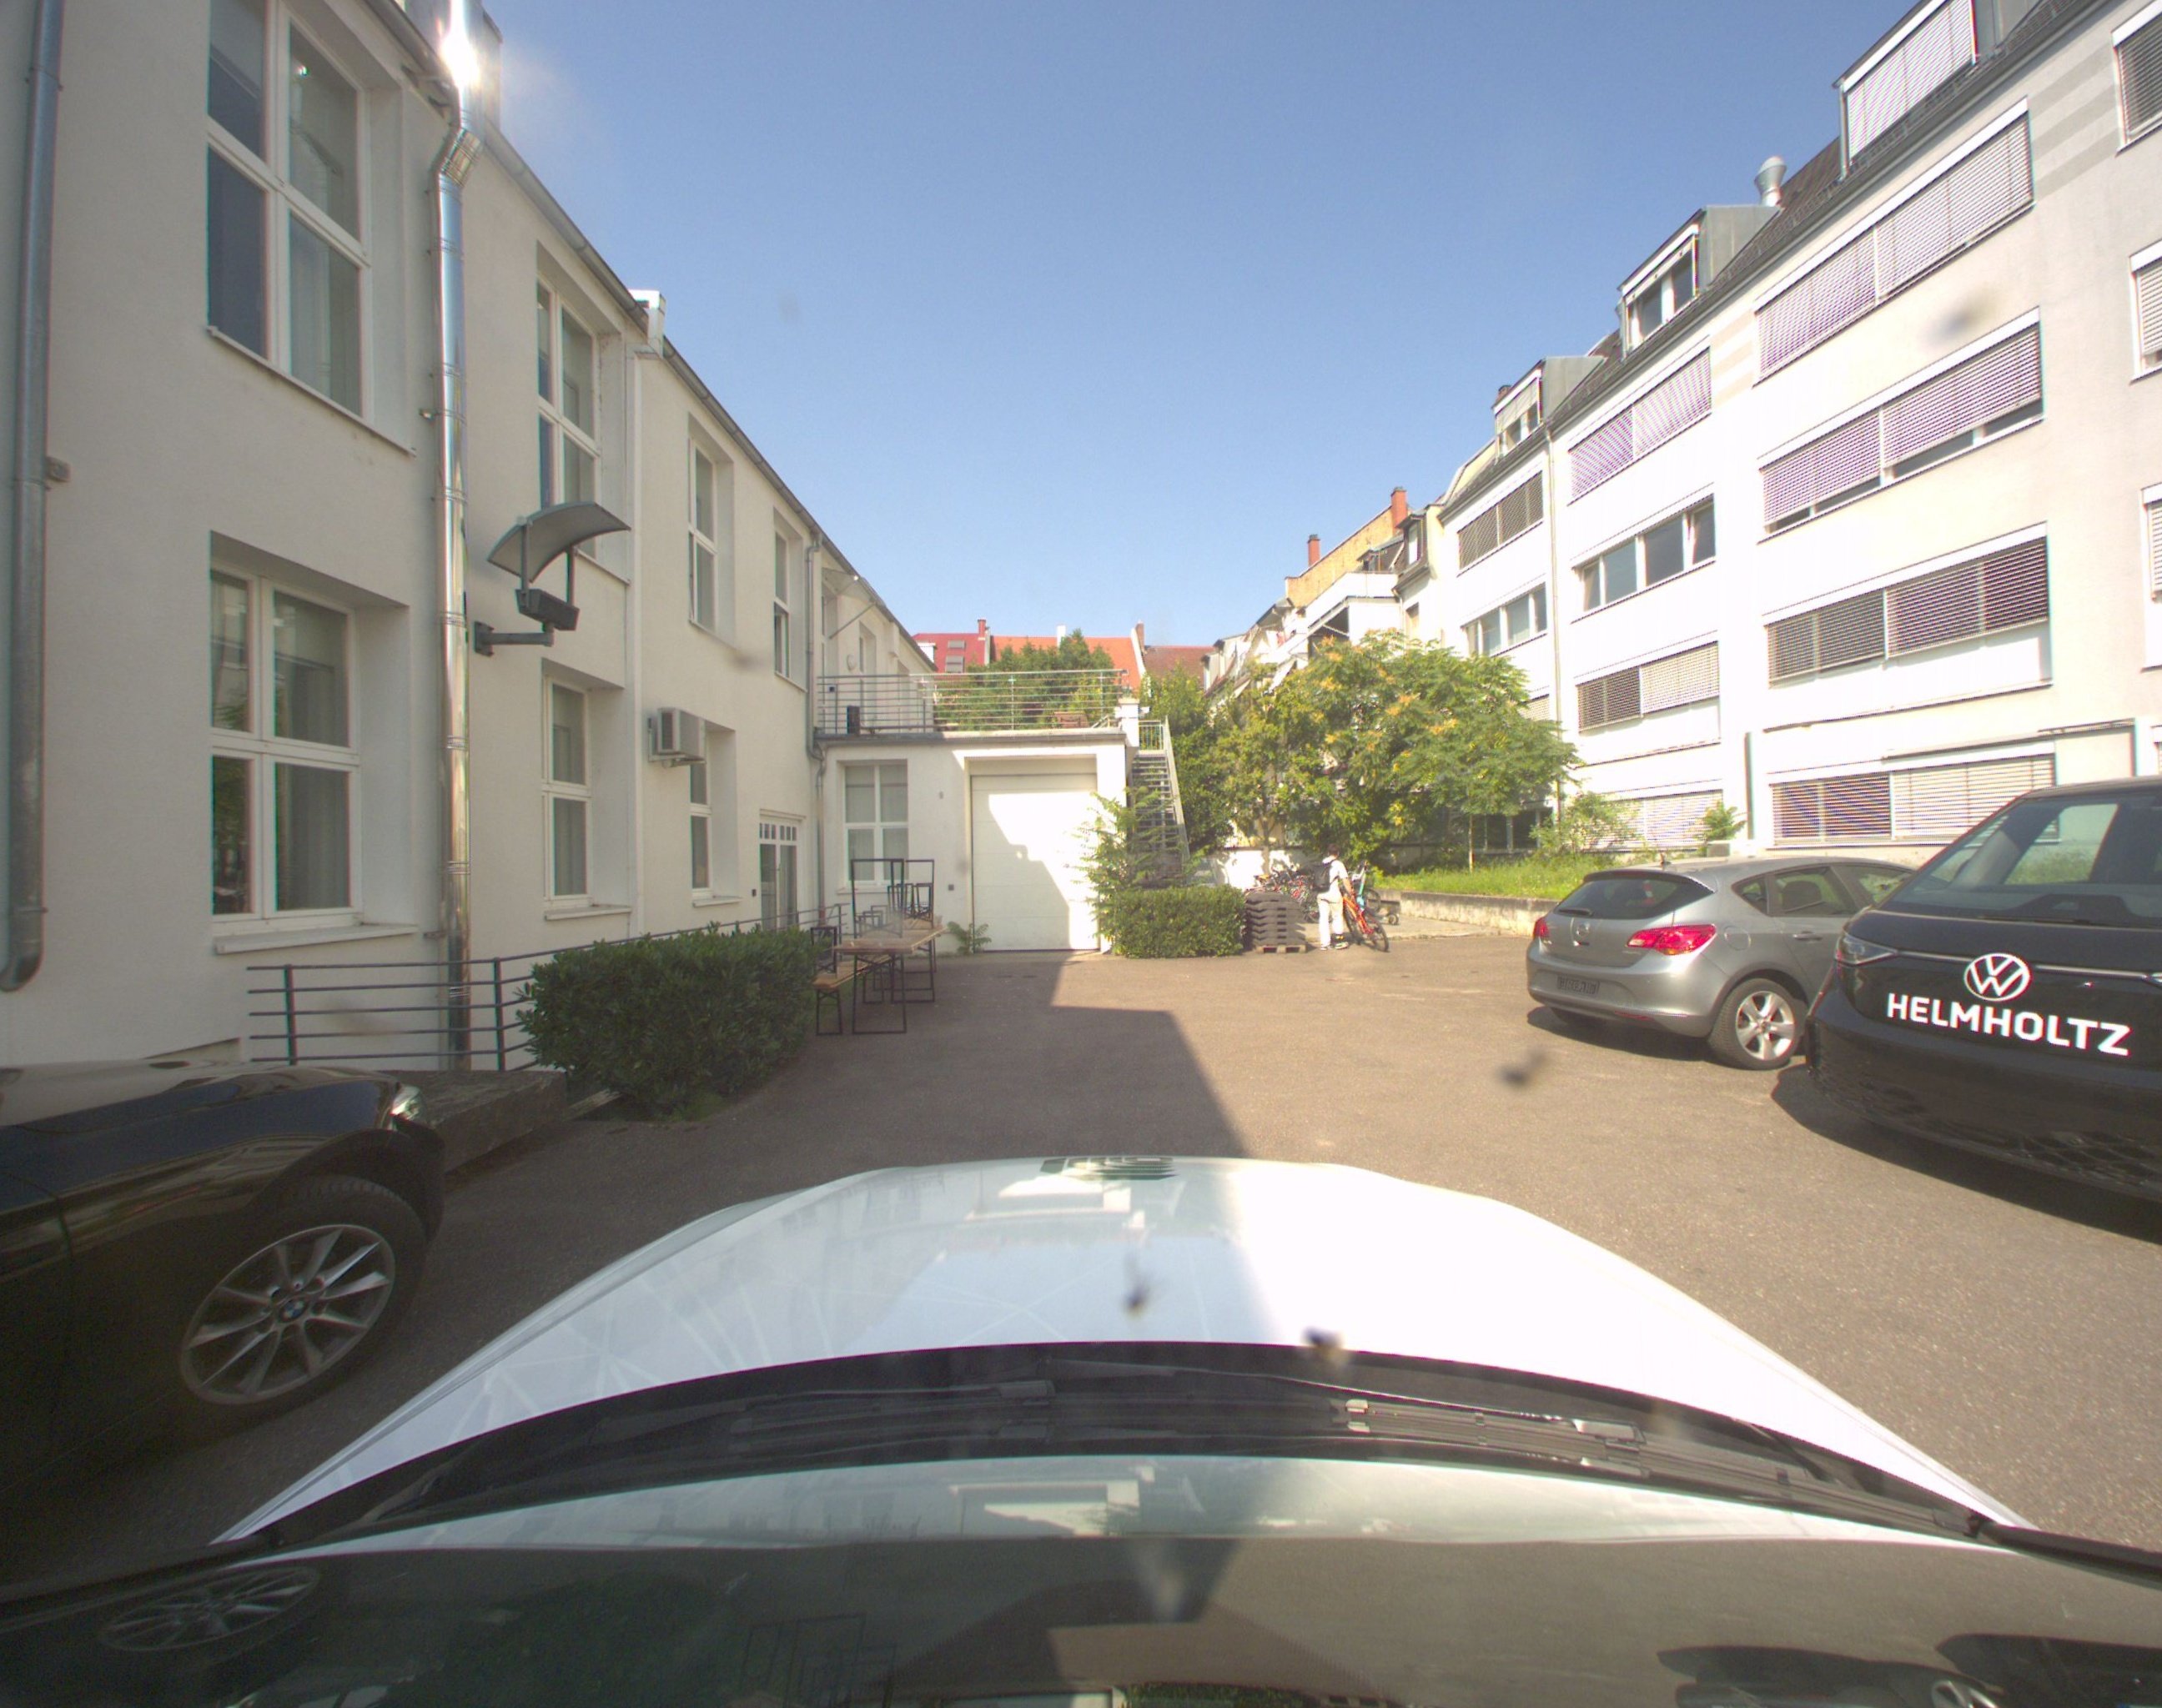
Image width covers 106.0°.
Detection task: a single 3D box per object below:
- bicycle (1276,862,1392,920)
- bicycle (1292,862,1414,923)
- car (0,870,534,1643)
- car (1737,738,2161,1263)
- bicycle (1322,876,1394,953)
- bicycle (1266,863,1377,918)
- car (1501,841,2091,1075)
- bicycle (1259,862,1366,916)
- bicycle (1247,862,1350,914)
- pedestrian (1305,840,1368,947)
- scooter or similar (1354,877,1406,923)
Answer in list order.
[{"bbox_3d":[5.574,0.809,18.010,2.403,1.246,0.526,0,-1,0],"label":"bicycle"},{"bbox_3d":[5.775,0.812,17.355,2.403,1.246,0.526,0,-1,0],"label":"bicycle"},{"bbox_3d":[-2.904,0.764,0.972,1.788,1.428,4.133,0,-1,-2],"label":"car"},{"bbox_3d":[5.865,0.471,3.834,4.334,1.859,1.909,-1,0,-9],"label":"car"},{"bbox_3d":[4.677,0.977,13.878,0.487,1.143,1.993,-2,0,-1],"label":"bicycle"},{"bbox_3d":[5.535,0.836,18.807,2.403,1.246,0.526,0,-1,0],"label":"bicycle"},{"bbox_3d":[5.717,0.691,6.661,3.900,1.466,1.655,-1,0,-13],"label":"car"},{"bbox_3d":[5.494,0.832,19.423,2.403,1.246,0.526,0,-1,0],"label":"bicycle"},{"bbox_3d":[5.363,0.838,20.139,2.403,1.246,0.526,0,-1,0],"label":"bicycle"},{"bbox_3d":[4.337,0.662,13.867,0.856,1.772,0.611,0,-1,-2],"label":"pedestrian"},{"bbox_3d":[6.244,0.953,17.030,0.362,0.924,0.988,0,-1,-37],"label":"scooter or similar"}]
